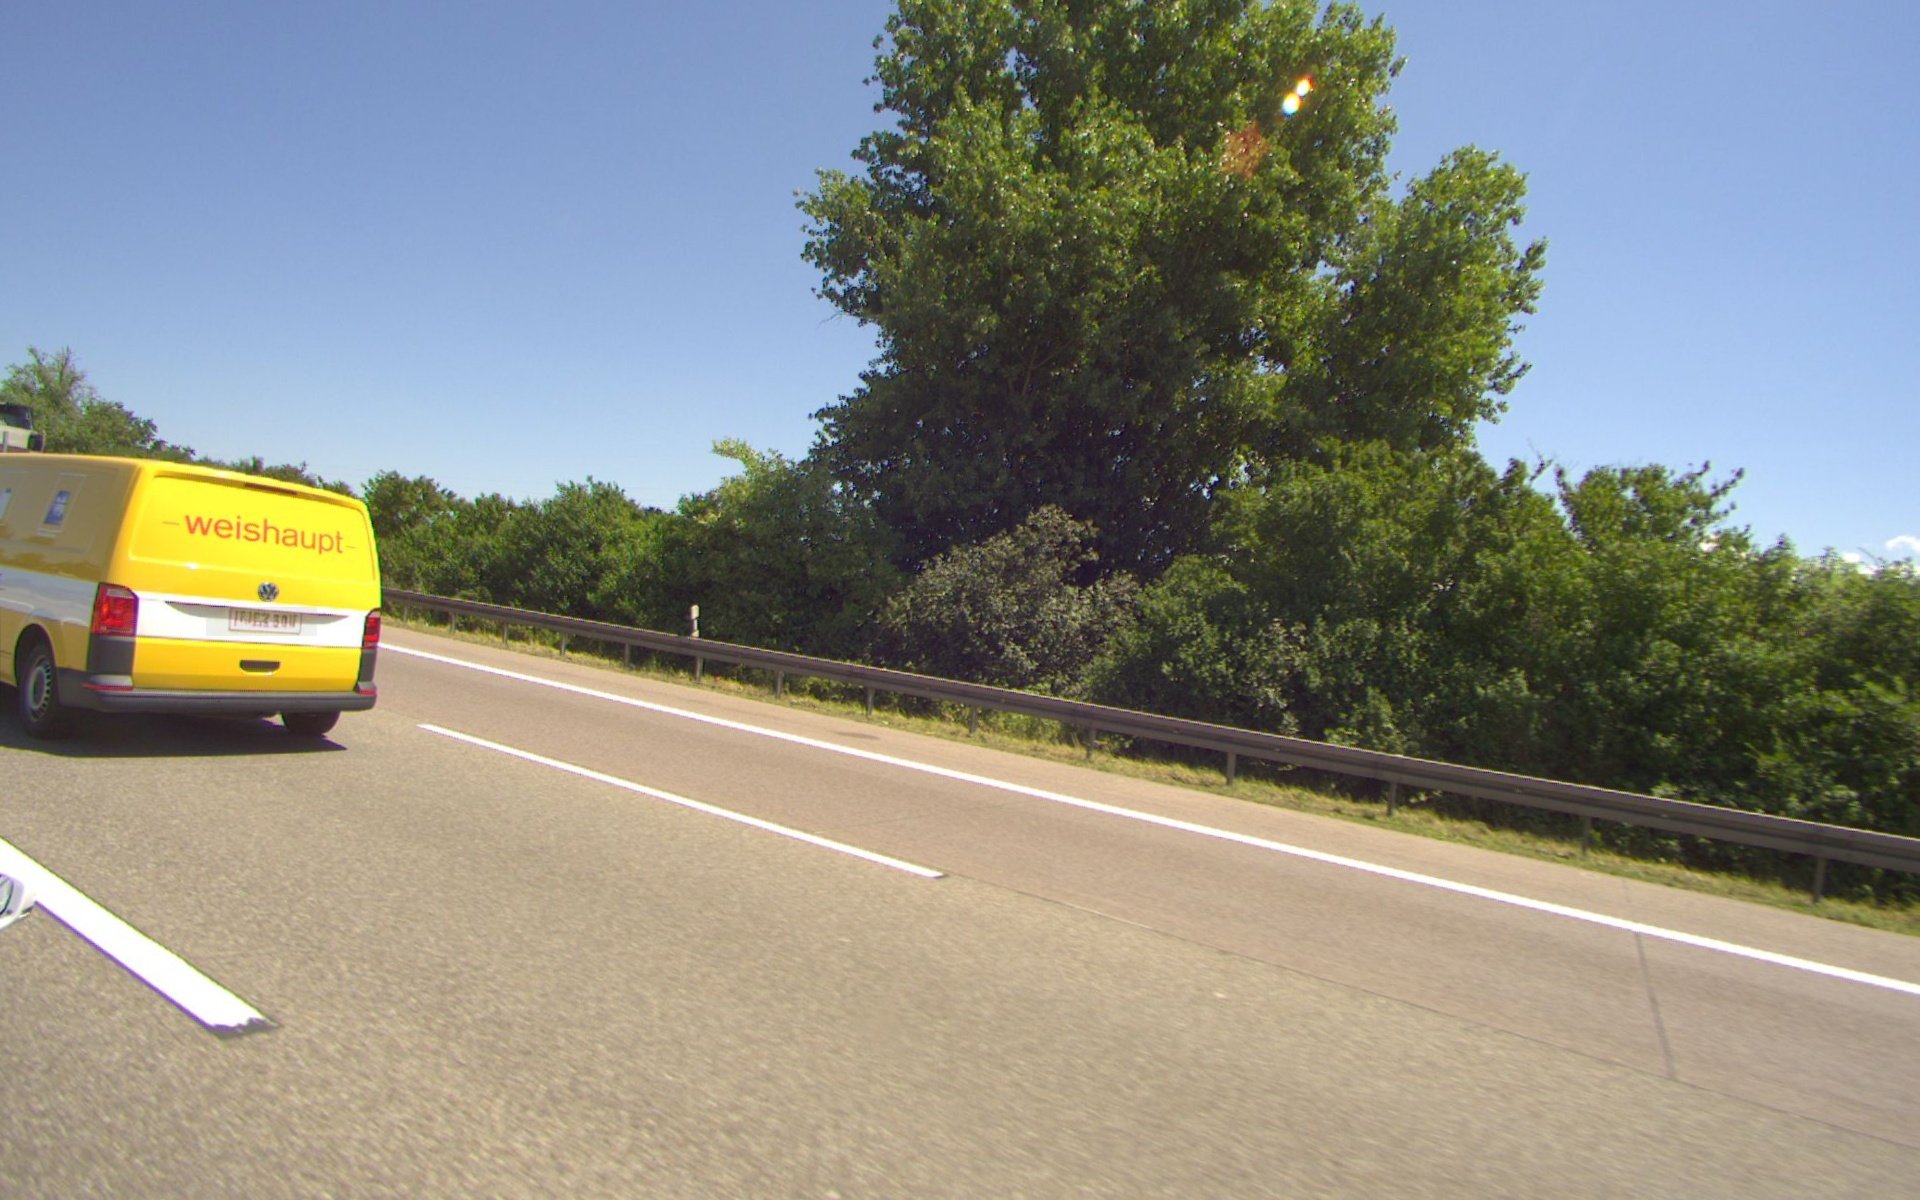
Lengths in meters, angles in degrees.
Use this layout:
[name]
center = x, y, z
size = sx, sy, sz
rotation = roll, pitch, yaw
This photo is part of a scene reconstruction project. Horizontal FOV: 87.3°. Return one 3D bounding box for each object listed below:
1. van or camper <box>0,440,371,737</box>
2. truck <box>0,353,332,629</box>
[van or camper]
center = -7.513, -0.198, 8.668
size = 4.889, 1.931, 1.997
rotation = 6, -2, 32
[truck]
center = -19.087, -2.315, 20.938
size = 16.339, 4.002, 2.975
rotation = 6, -2, 32
